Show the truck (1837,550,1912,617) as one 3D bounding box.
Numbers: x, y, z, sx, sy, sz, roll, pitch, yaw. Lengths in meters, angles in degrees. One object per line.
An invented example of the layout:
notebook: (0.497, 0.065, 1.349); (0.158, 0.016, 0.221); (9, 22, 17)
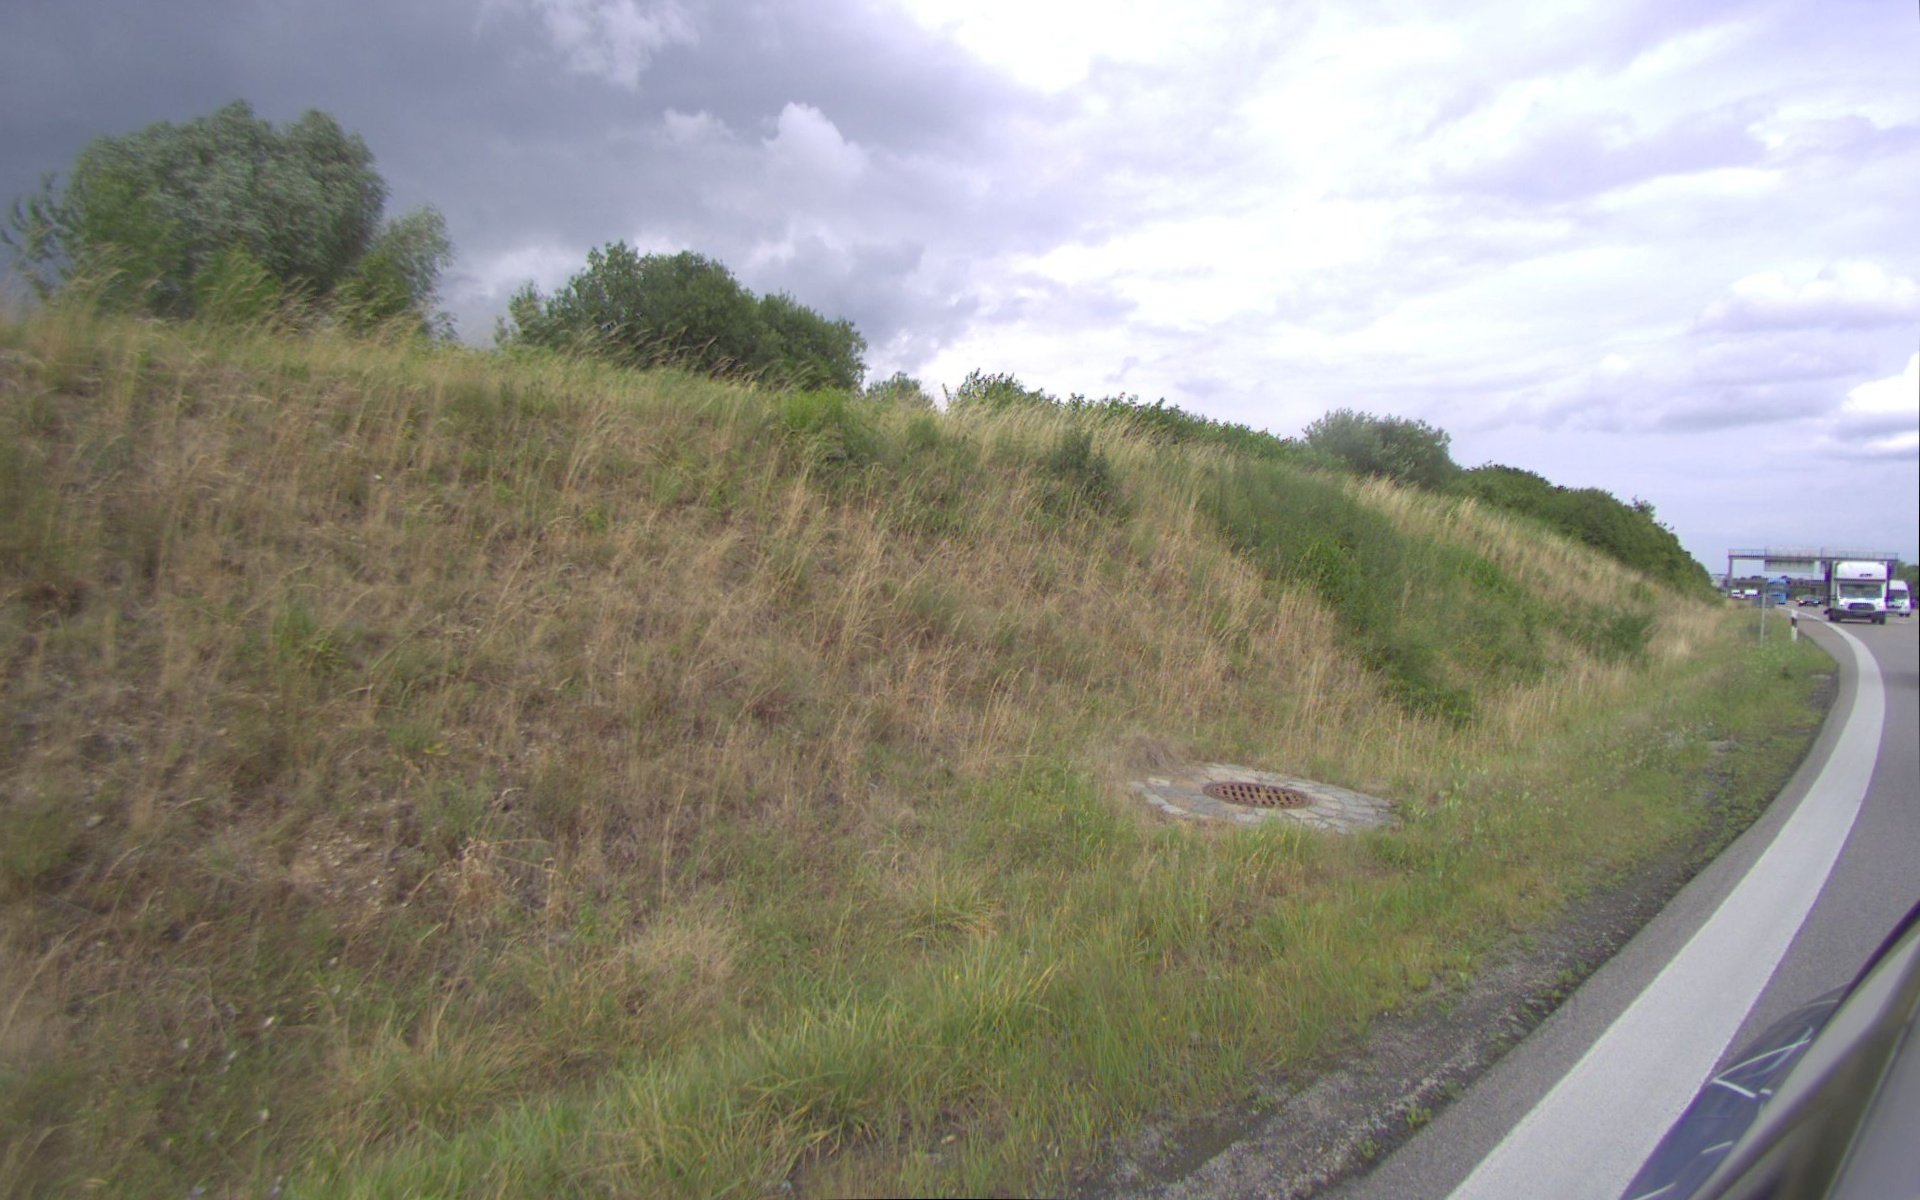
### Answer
truck: (47.962, -0.868, 53.229); (2.438, 3.275, 7.091); (2, 2, 39)

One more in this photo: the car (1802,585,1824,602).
car: (107.179, -0.875, 127.213); (1.990, 2.038, 3.944); (2, 2, 38)

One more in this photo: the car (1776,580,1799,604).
car: (130.347, -1.272, 159.495); (2.493, 3.757, 7.596); (2, 2, 38)

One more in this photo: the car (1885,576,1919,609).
car: (70.120, -0.573, 75.124); (1.991, 2.425, 3.941); (0, 1, 41)
